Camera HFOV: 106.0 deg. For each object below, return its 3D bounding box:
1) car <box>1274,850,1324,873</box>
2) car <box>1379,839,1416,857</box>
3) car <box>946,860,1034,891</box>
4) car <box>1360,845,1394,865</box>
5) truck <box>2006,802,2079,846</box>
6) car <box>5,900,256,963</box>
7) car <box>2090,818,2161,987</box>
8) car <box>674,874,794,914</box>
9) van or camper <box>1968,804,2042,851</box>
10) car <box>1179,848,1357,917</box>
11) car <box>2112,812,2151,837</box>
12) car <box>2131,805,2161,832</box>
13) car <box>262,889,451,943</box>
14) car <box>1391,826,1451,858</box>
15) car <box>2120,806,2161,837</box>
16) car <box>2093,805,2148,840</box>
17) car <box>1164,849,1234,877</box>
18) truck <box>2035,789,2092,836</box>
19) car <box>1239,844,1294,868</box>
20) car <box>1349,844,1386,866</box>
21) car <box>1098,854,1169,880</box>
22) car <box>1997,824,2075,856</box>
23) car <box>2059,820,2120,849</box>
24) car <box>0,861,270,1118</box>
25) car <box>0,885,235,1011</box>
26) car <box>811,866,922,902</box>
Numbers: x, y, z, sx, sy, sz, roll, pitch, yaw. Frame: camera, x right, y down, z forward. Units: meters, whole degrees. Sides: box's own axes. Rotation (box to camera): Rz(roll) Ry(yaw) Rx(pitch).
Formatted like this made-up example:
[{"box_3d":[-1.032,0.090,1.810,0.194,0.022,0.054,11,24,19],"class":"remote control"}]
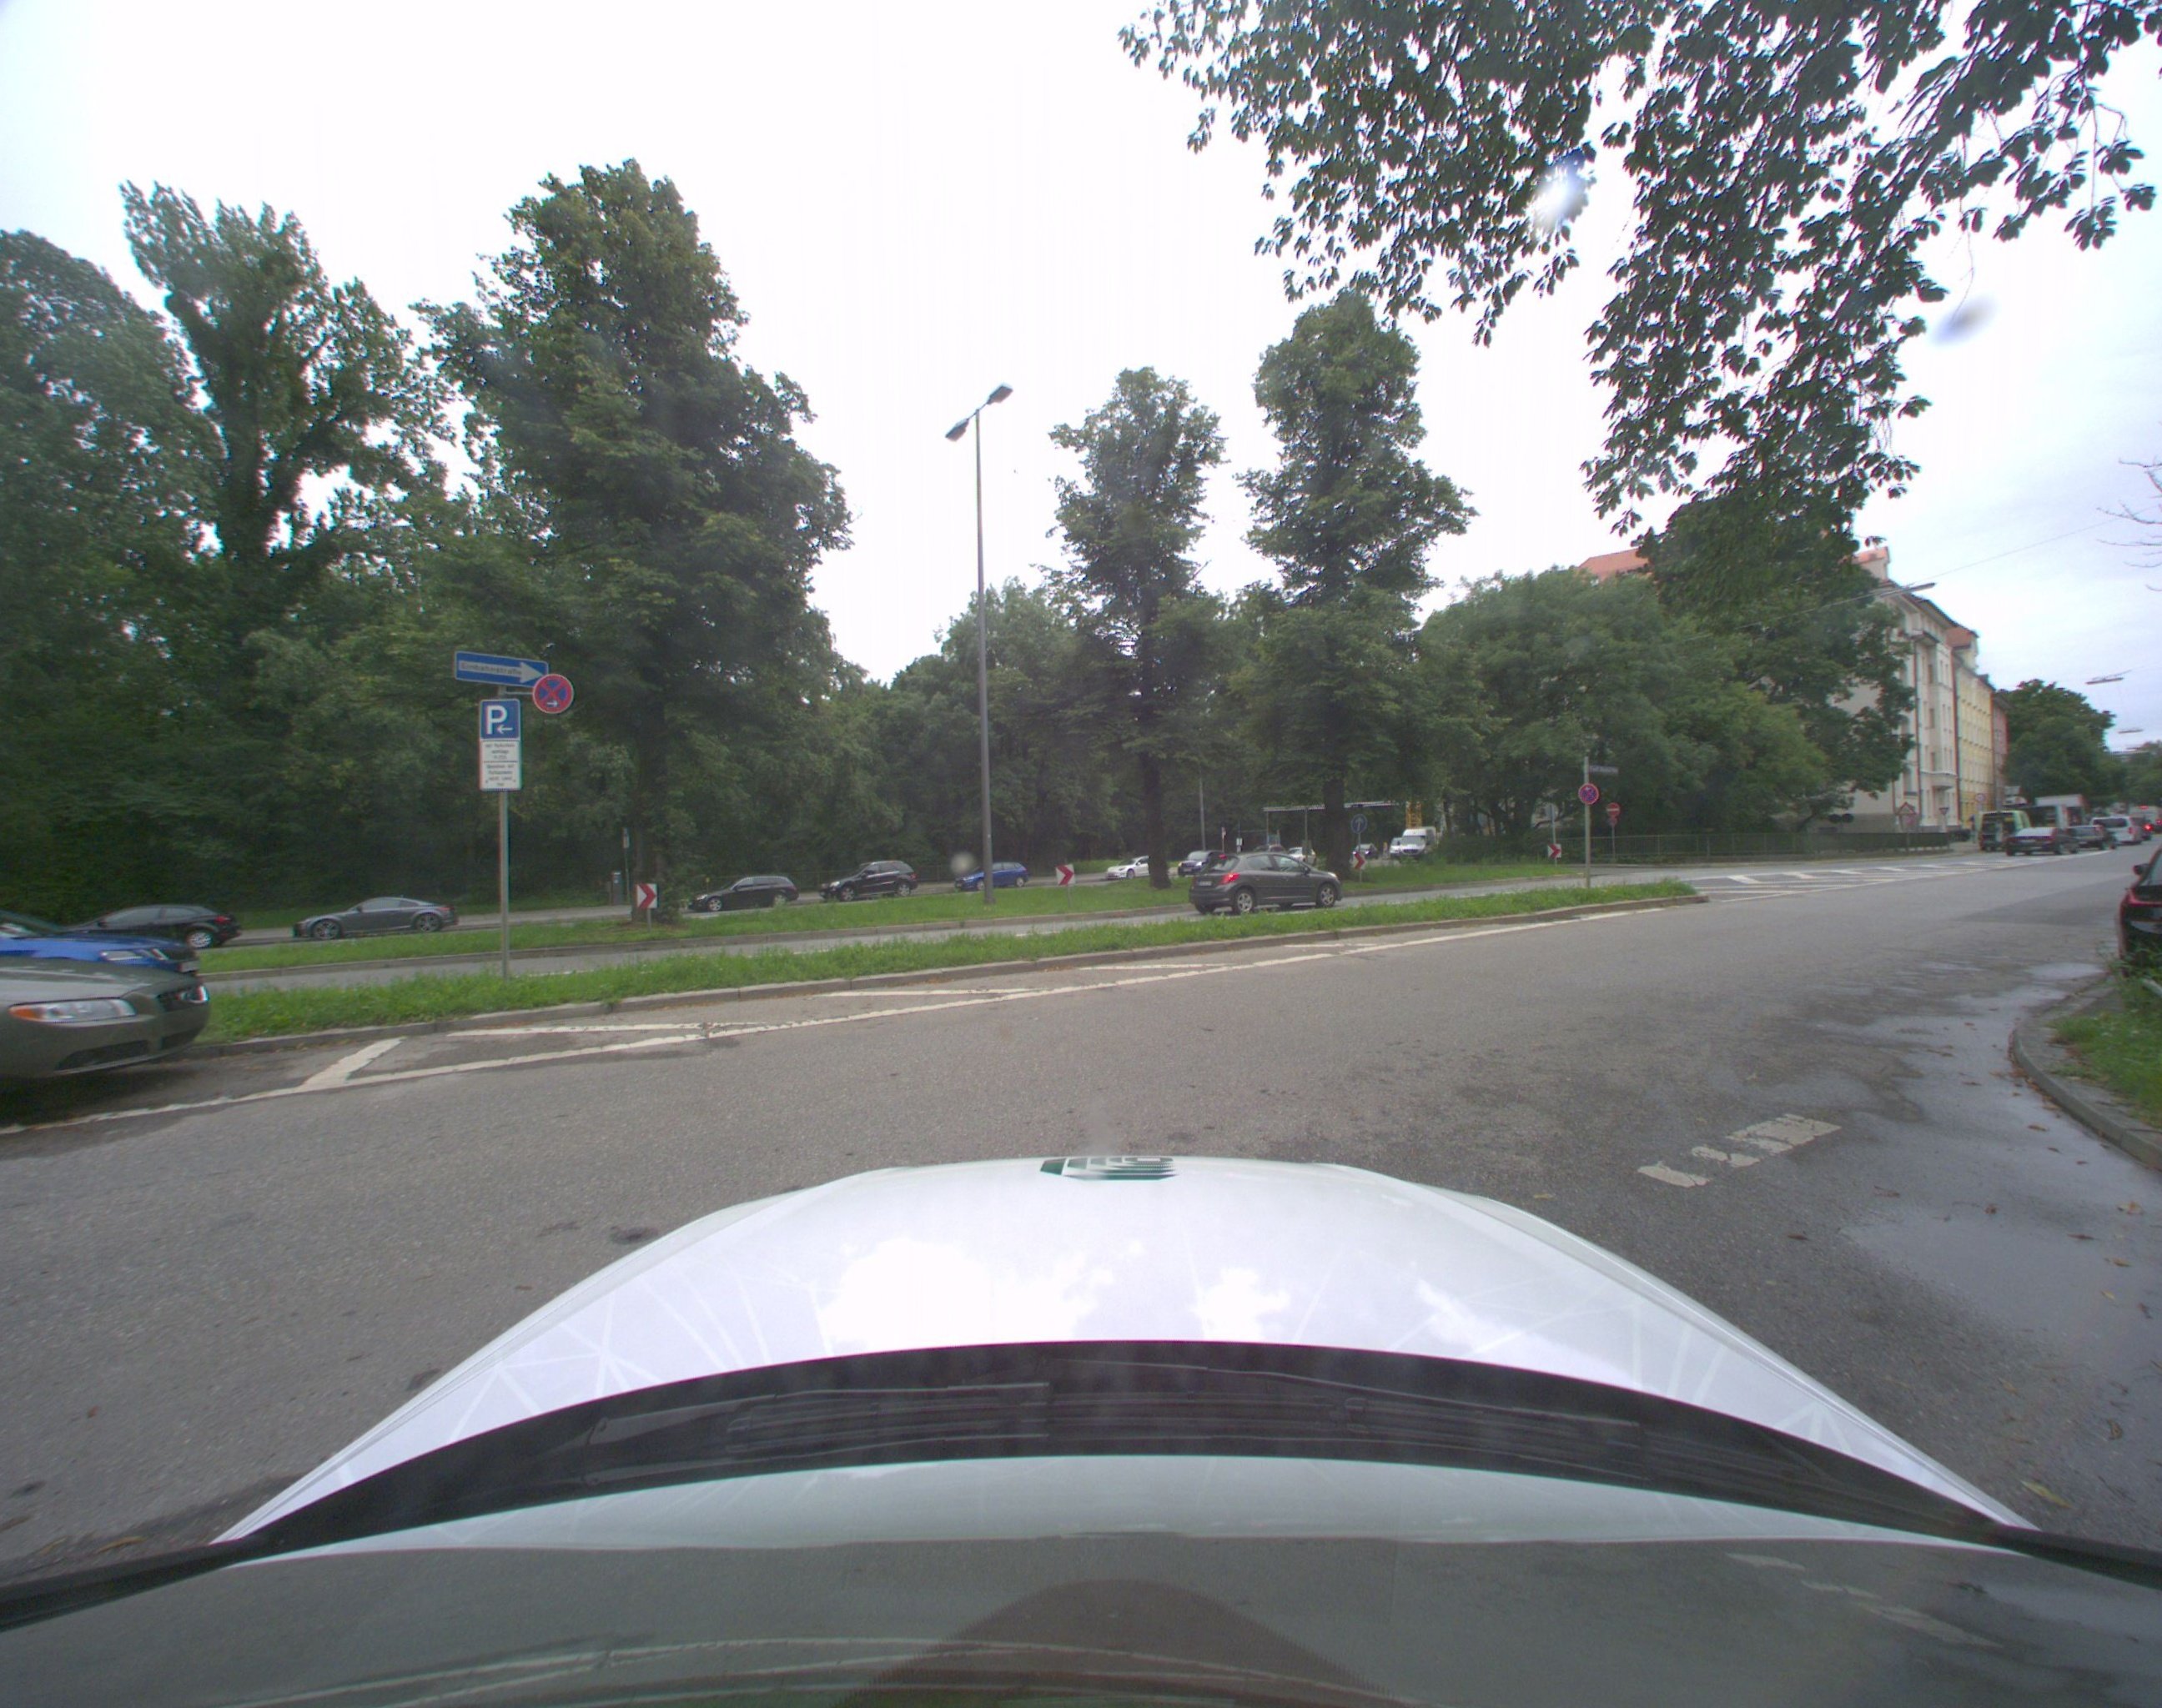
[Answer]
[{"box_3d":[15.628,0.515,58.238,1.809,1.446,4.263,-4,-1,38],"class":"car"},{"box_3d":[28.249,-0.534,72.626,1.873,1.446,4.327,-3,0,38],"class":"car"},{"box_3d":[-4.930,1.151,44.426,4.449,1.446,1.975,-2,-2,-45],"class":"car"},{"box_3d":[29.640,0.105,81.439,1.675,1.874,4.024,-3,-1,43],"class":"car"},{"box_3d":[69.408,-2.202,58.727,7.233,2.873,2.752,-3,0,-36],"class":"truck"},{"box_3d":[-28.188,2.232,24.425,4.547,1.446,1.977,-2,-1,-37],"class":"car"},{"box_3d":[11.728,0.334,7.980,4.392,1.497,1.779,-2,-3,-33],"class":"car"},{"box_3d":[-14.929,1.689,35.188,4.343,1.446,1.975,-2,-1,-44],"class":"car"},{"box_3d":[60.527,-1.749,53.312,6.213,2.840,2.580,-3,0,-36],"class":"van or camper"},{"box_3d":[4.622,0.645,20.031,4.085,1.461,1.748,-2,0,-28],"class":"car"},{"box_3d":[92.863,-2.595,72.004,4.018,2.013,1.978,-2,-1,-37],"class":"car"},{"box_3d":[104.538,-3.461,79.705,4.802,2.480,1.925,-2,0,-35],"class":"car"},{"box_3d":[-24.007,2.012,27.275,4.547,1.446,1.977,-2,-1,-37],"class":"car"},{"box_3d":[25.863,-0.946,61.868,5.158,2.270,2.280,-2,-1,-45],"class":"car"},{"box_3d":[75.272,-2.293,57.640,4.018,2.013,1.978,-3,1,-36],"class":"car"},{"box_3d":[67.494,-2.079,52.867,4.159,2.075,1.975,-3,0,-36],"class":"car"},{"box_3d":[6.871,0.514,47.195,4.057,1.446,1.874,-2,0,-45],"class":"car"},{"box_3d":[88.073,-3.643,72.952,7.029,3.951,2.988,-2,0,-38],"class":"truck"},{"box_3d":[14.664,0.137,64.326,4.676,1.718,1.975,-2,-2,-45],"class":"car"},{"box_3d":[27.093,0.073,76.922,1.729,1.874,4.024,-3,-1,43],"class":"car"},{"box_3d":[3.392,0.798,52.152,4.449,1.446,1.975,-2,-2,-45],"class":"car"},{"box_3d":[50.101,-0.764,42.683,4.924,1.429,1.976,-3,0,-33],"class":"car"},{"box_3d":[58.393,-1.134,47.127,4.159,1.429,1.975,-3,0,-36],"class":"car"},{"box_3d":[-8.663,0.918,5.033,4.783,1.565,1.887,-2,0,-28],"class":"car"},{"box_3d":[-14.508,1.244,10.371,4.746,1.454,1.975,-2,0,-28],"class":"car"},{"box_3d":[-10.268,1.428,39.230,4.796,1.446,1.975,-2,-1,-44],"class":"car"}]
